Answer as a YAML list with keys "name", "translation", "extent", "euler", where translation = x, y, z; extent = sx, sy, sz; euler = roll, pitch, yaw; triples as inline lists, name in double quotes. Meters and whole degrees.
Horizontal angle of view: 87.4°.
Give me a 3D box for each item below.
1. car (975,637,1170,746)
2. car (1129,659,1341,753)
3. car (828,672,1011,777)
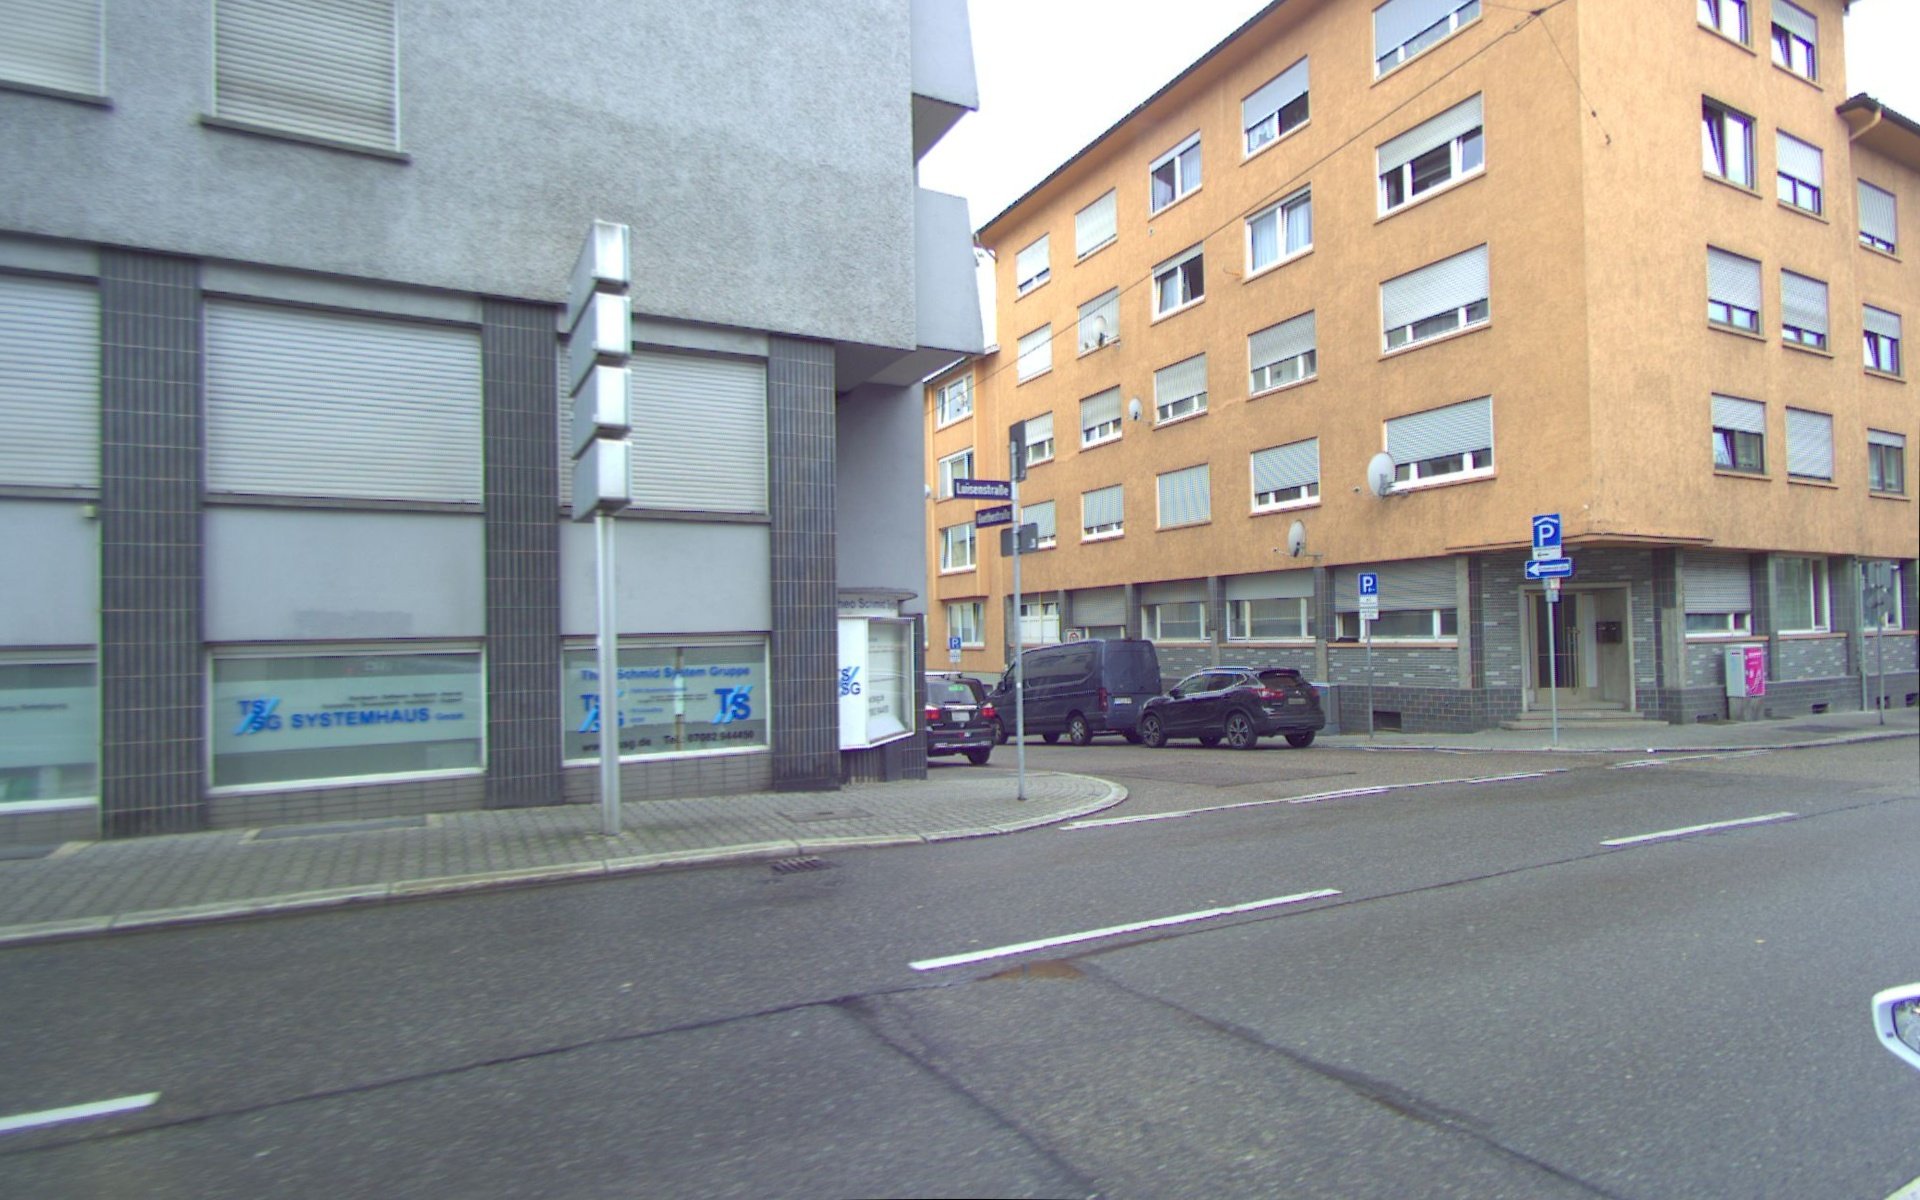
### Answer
- name: "car"
  translation: [2.705, 2.385, 25.703]
  extent: [1.962, 2.490, 5.314]
  euler: [1, -7, -33]
- name: "car"
  translation: [5.470, 2.164, 20.506]
  extent: [1.906, 1.673, 3.975]
  euler: [0, -6, -28]
- name: "car"
  translation: [-0.907, 2.380, 19.469]
  extent: [1.907, 1.739, 3.972]
  euler: [1, -6, -29]
